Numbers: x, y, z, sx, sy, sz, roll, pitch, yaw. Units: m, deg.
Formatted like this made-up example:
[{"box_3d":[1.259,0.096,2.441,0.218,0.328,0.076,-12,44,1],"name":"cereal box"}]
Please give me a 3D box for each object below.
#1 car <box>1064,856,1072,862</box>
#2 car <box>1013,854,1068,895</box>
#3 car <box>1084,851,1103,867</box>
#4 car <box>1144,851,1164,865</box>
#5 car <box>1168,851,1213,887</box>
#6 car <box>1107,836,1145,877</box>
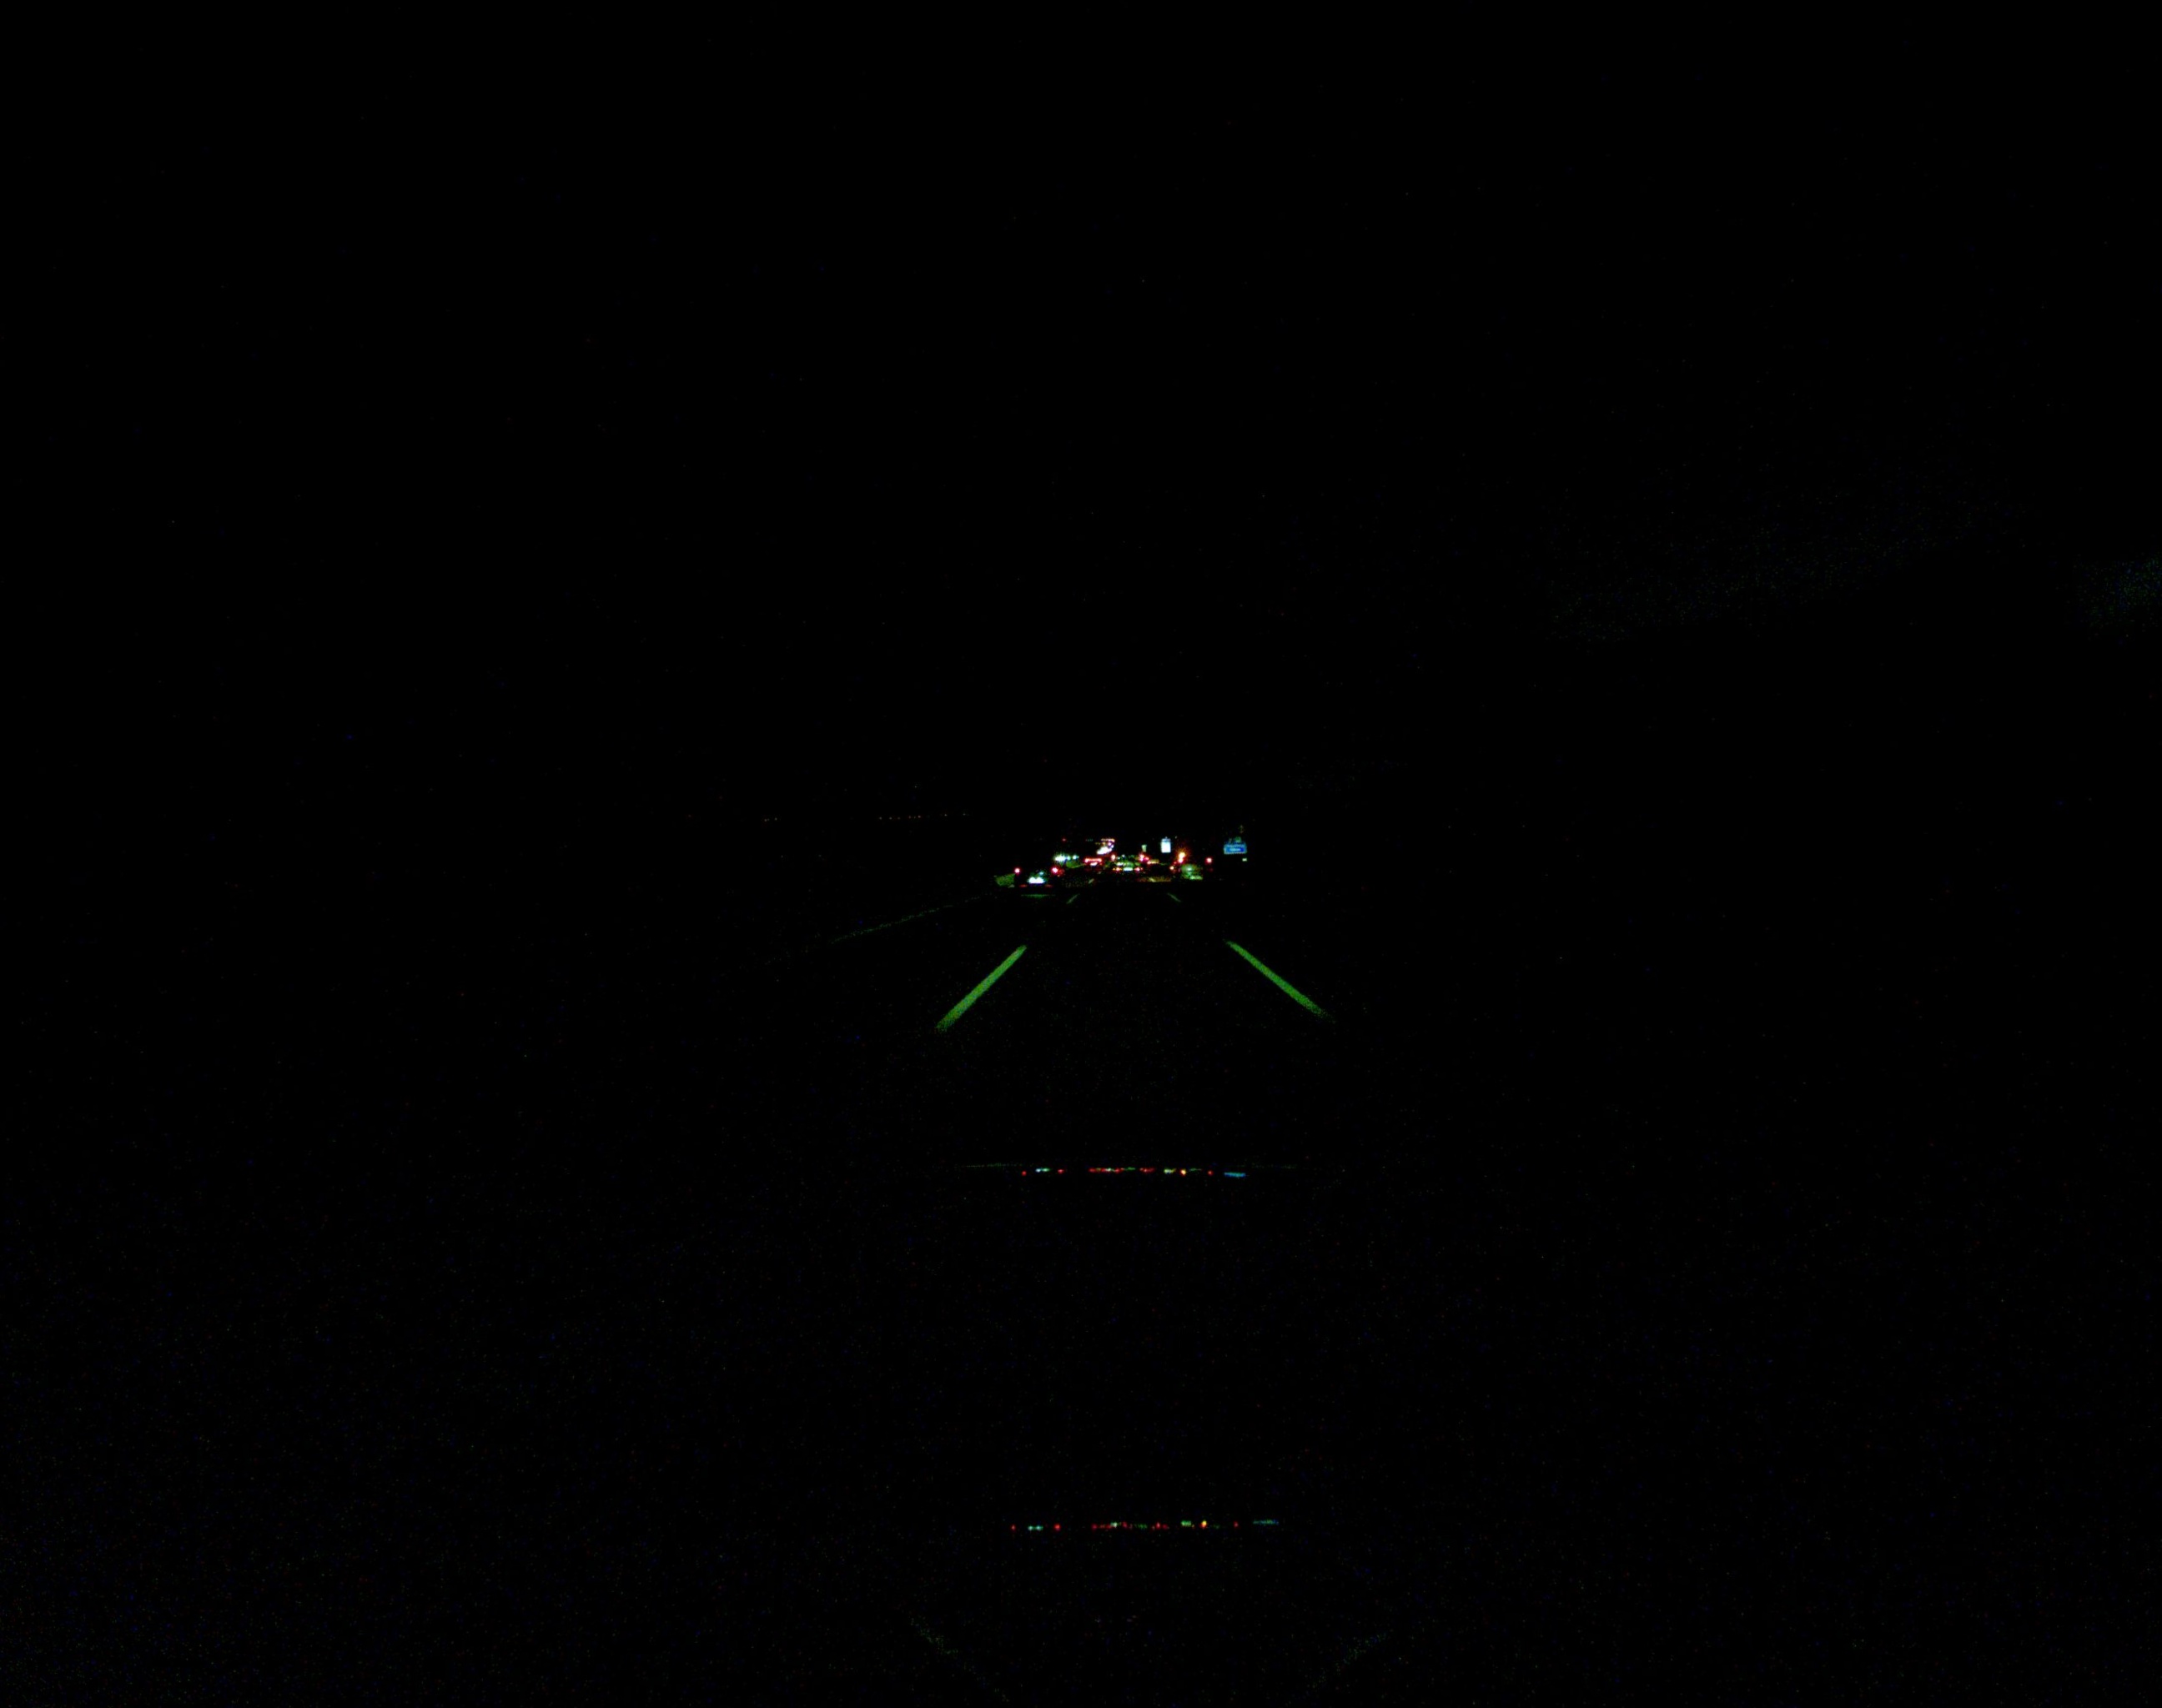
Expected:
[{"box_3d":[-3.896,1.456,240.178,1.895,1.643,5.302,-2,0,3],"name":"car"},{"box_3d":[-1.539,0.768,32.370,1.786,1.469,3.776,-1,0,3],"name":"car"},{"box_3d":[1.267,0.501,82.379,1.737,1.440,4.371,-2,0,3],"name":"car"},{"box_3d":[8.435,0.433,94.162,2.154,1.563,4.726,-1,0,3],"name":"car"},{"box_3d":[5.109,0.678,38.384,1.640,1.596,4.512,-1,0,2],"name":"car"},{"box_3d":[2.960,0.133,53.768,2.342,2.535,5.705,-2,0,3],"name":"car"}]
